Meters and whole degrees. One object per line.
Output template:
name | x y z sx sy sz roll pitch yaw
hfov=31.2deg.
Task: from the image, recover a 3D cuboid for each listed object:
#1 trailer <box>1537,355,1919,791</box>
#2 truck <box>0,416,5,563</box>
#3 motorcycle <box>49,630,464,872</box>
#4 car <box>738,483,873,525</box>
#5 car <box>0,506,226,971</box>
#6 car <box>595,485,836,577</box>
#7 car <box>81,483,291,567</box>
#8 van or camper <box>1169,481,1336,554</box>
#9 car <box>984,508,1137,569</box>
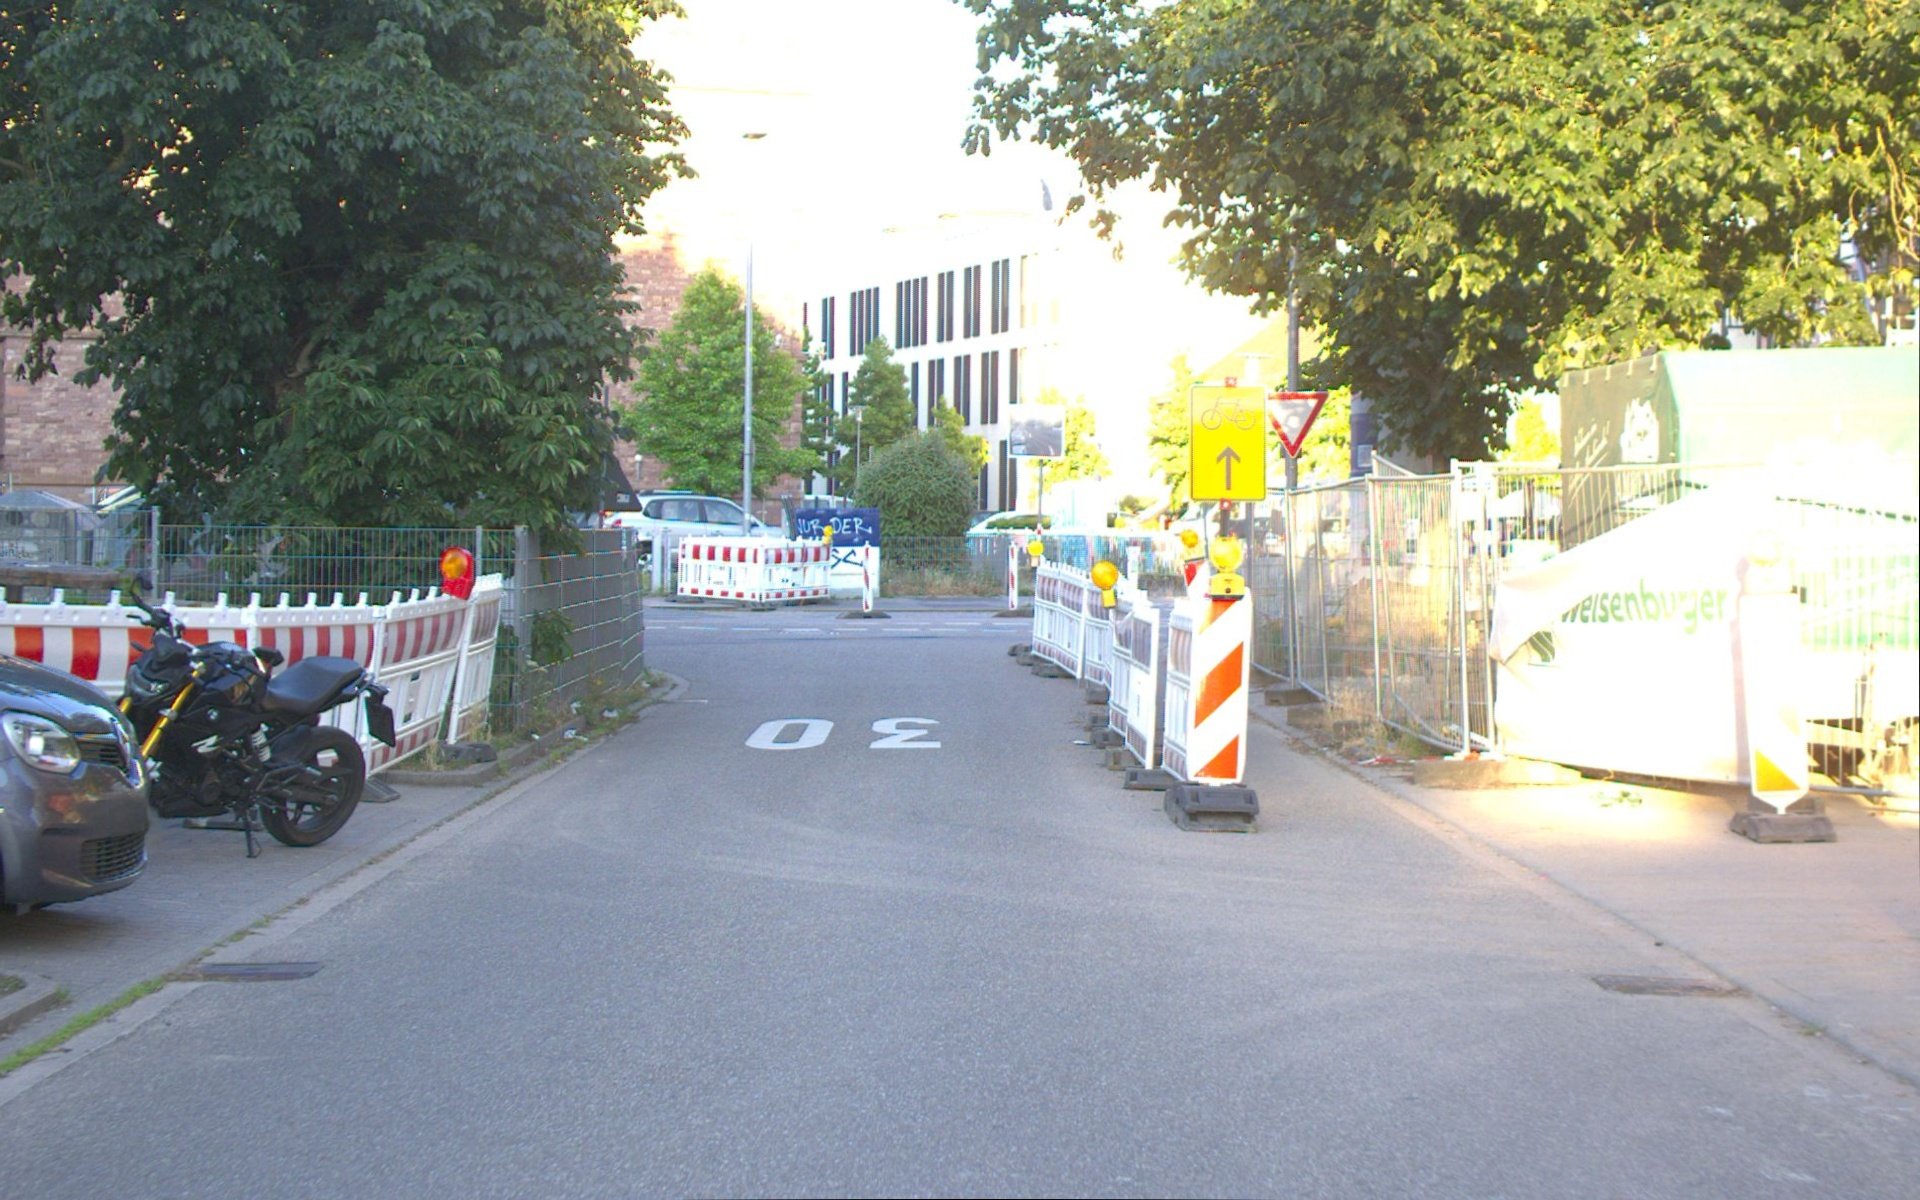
trailer | 5.074 -0.214 22.165 1.993 2.531 4.186 1 2 0
truck | -18.737 -2.038 62.833 2.333 2.608 4.975 0 2 -17
motorcycle | -3.235 0.668 16.044 0.538 1.017 2.208 4 1 29
car | -4.985 -3.093 110.911 3.986 1.308 1.878 0 1 -19
car | -4.726 0.366 12.618 3.623 1.551 1.693 4 1 0
car | -4.658 -1.308 65.347 4.268 1.703 1.703 0 2 -19
car | -14.113 -1.372 62.665 3.630 1.498 1.638 0 2 -16
van or camper | 9.208 -2.577 108.051 4.961 2.233 1.687 0 1 -21
car | 2.712 -1.664 92.631 3.739 1.597 1.687 0 1 -21
